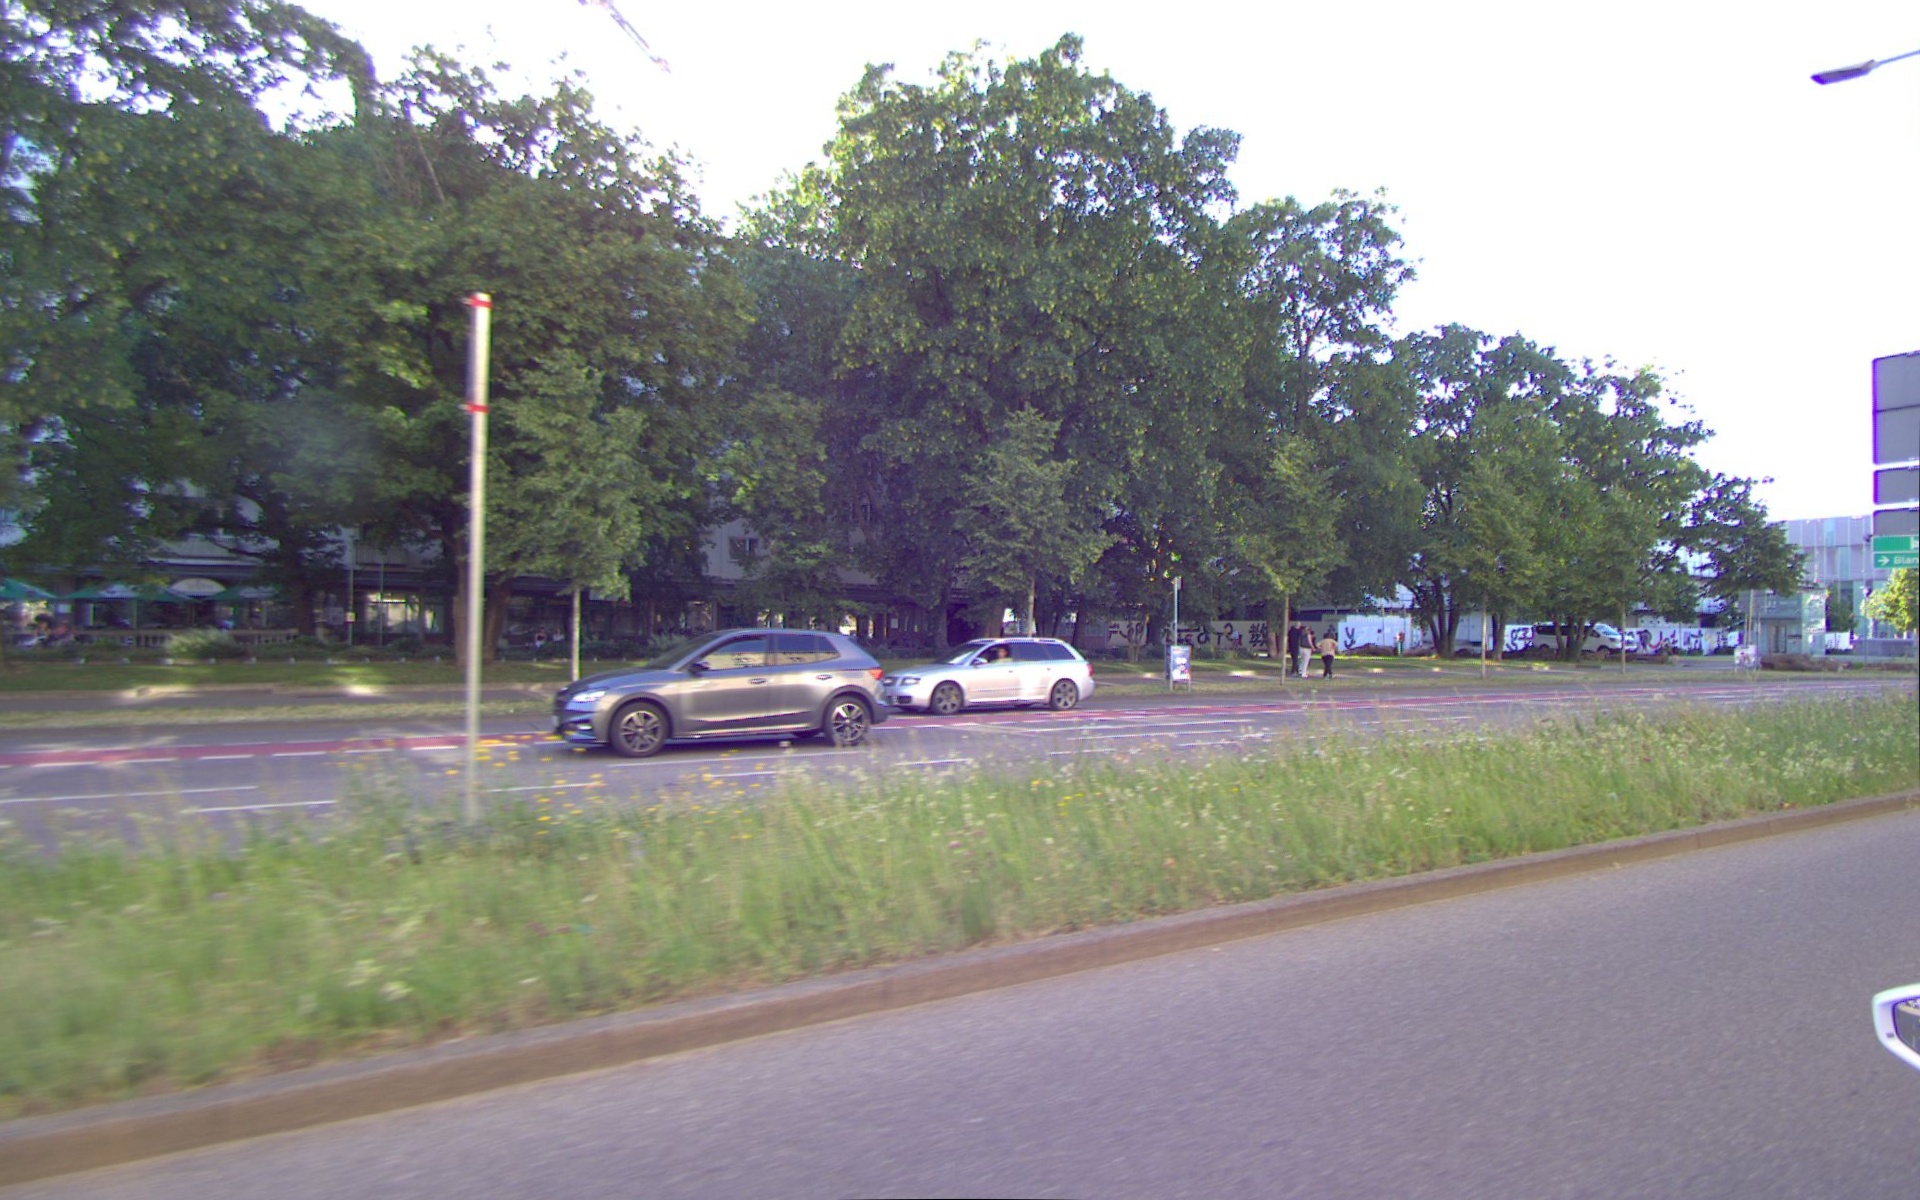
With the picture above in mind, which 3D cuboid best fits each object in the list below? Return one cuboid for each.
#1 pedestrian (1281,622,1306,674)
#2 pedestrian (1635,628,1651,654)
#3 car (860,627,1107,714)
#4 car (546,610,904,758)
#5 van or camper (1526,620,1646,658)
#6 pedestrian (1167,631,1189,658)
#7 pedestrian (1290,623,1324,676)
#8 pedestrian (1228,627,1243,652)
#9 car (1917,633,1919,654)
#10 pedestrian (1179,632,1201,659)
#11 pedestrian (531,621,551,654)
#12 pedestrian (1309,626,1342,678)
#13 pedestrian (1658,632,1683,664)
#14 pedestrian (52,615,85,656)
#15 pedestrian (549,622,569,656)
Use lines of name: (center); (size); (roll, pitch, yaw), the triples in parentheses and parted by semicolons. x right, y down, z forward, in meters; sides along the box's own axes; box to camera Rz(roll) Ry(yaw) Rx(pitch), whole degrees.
pedestrian: (11.491, 1.662, 34.638); (0.646, 1.763, 0.522); (1, -1, -25)
pedestrian: (44.980, 2.680, 66.131); (0.826, 1.711, 0.576); (1, -1, -31)
car: (0.487, 1.353, 19.836); (4.529, 1.546, 1.926); (2, -3, -27)
car: (-2.935, 0.971, 12.653); (4.011, 1.585, 1.985); (2, -2, -29)
van or camper: (36.463, 2.275, 58.719); (2.229, 2.040, 5.642); (3, -3, -27)
pedestrian: (12.607, 2.575, 58.071); (0.886, 1.560, 0.896); (2, -1, -36)
pedestrian: (11.735, 1.657, 33.978); (0.750, 1.763, 0.769); (1, -1, -25)
pedestrian: (19.023, 2.731, 69.350); (0.734, 1.662, 0.722); (1, -1, -23)
car: (89.335, 3.940, 90.279); (1.855, 1.834, 4.608); (4, -3, -36)
pedestrian: (13.404, 2.632, 58.608); (0.886, 1.560, 0.896); (2, -1, -36)
pedestrian: (-17.040, 1.518, 40.841); (0.656, 1.357, 0.903); (1, -1, -26)
pedestrian: (12.083, 1.712, 33.196); (0.716, 1.662, 0.740); (1, -1, -25)
pedestrian: (34.232, 2.309, 48.410); (0.929, 1.548, 0.611); (1, -1, -24)
pedestrian: (-29.633, 1.182, 33.395); (0.591, 1.357, 0.729); (1, -1, -26)
pedestrian: (-16.451, 1.591, 41.219); (0.707, 1.357, 0.824); (1, -1, -26)
